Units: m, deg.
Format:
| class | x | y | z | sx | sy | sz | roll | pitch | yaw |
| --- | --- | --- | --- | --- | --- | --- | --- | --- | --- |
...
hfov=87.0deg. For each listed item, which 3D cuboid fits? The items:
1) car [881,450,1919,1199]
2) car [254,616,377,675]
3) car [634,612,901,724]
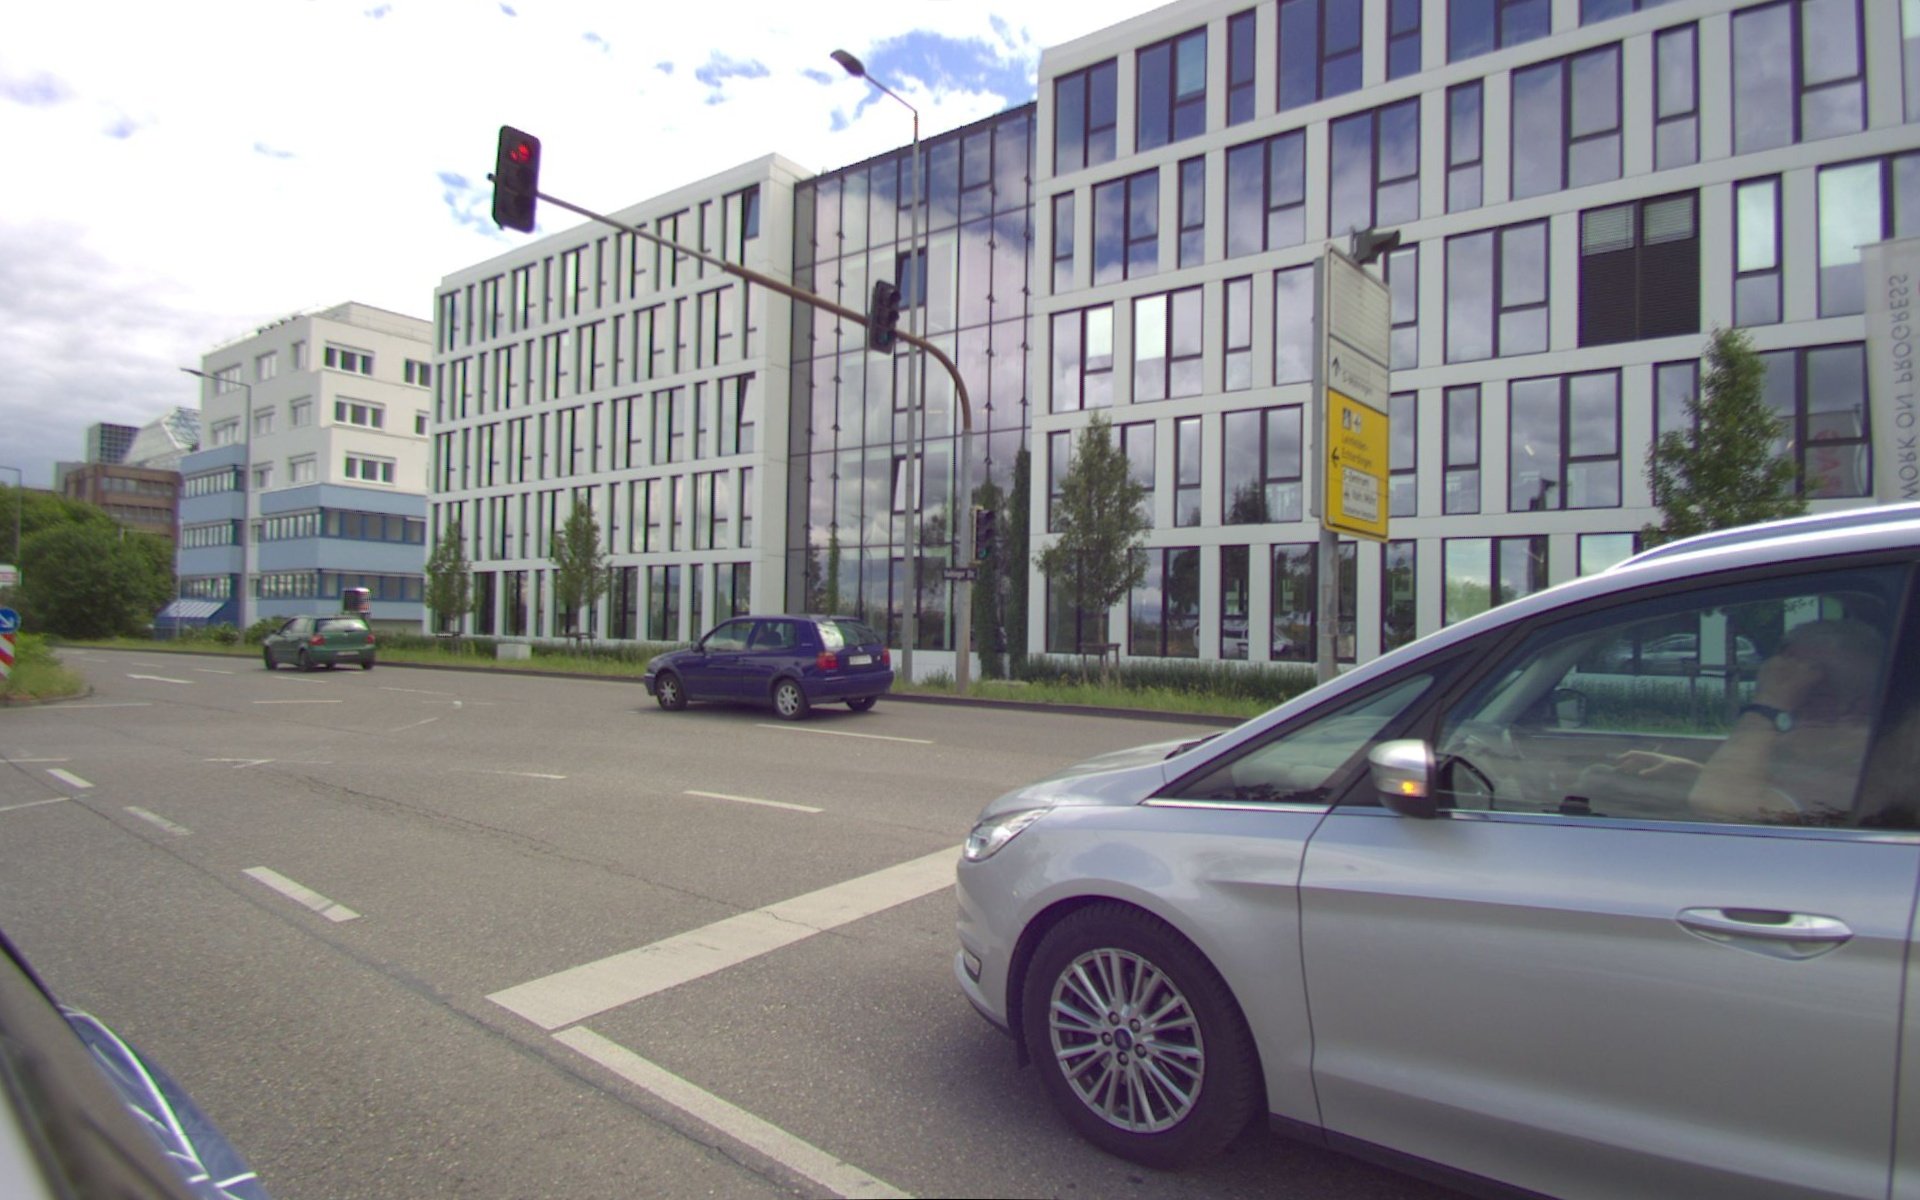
| class | x | y | z | sx | sy | sz | roll | pitch | yaw |
| --- | --- | --- | --- | --- | --- | --- | --- | --- | --- |
| car | 2.131 | 0.600 | 2.366 | 4.639 | 1.699 | 1.803 | -1 | -1 | 39 |
| car | -16.967 | 1.153 | 26.579 | 3.748 | 1.443 | 1.590 | -1 | -1 | 38 |
| car | -2.858 | 0.910 | 14.679 | 3.886 | 1.430 | 1.540 | -1 | -1 | 35 |
